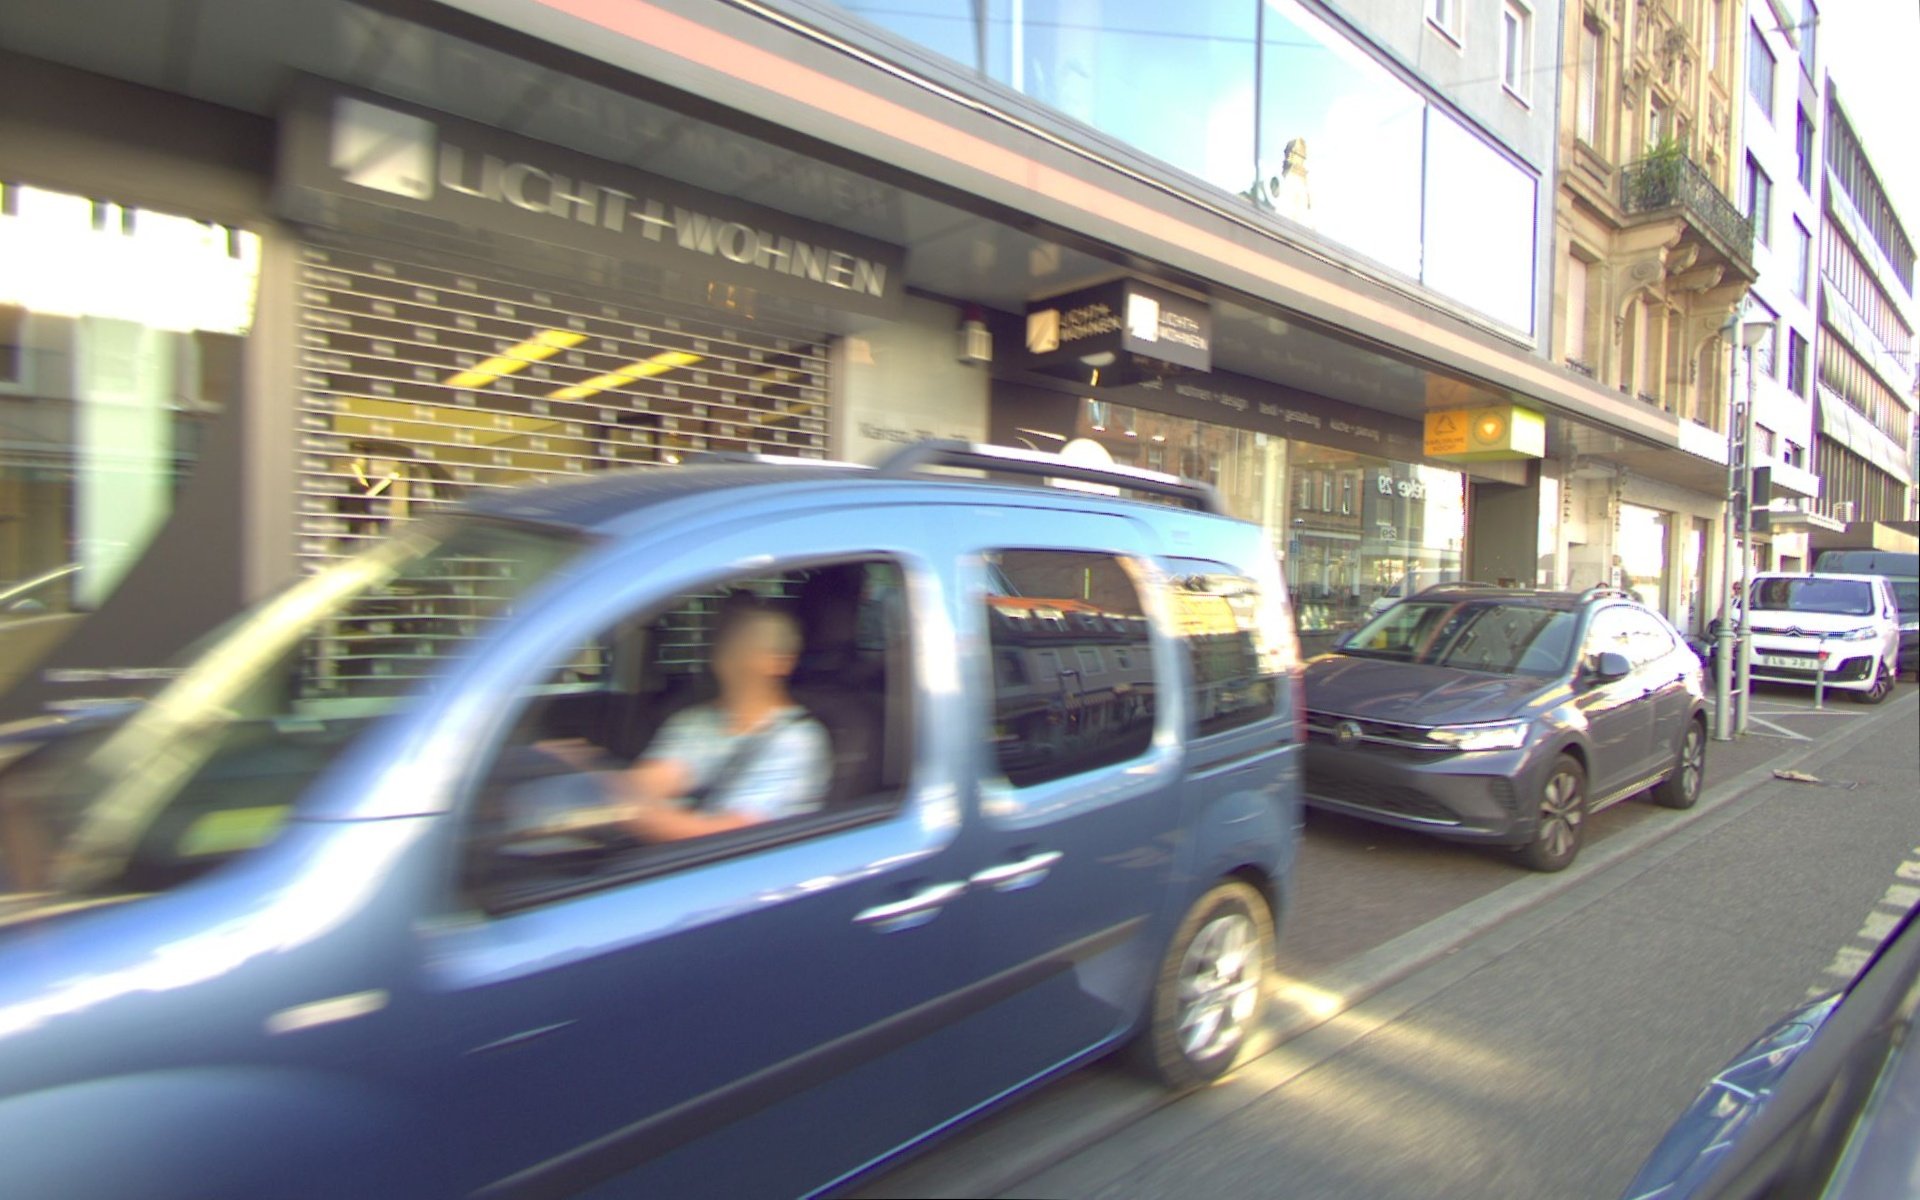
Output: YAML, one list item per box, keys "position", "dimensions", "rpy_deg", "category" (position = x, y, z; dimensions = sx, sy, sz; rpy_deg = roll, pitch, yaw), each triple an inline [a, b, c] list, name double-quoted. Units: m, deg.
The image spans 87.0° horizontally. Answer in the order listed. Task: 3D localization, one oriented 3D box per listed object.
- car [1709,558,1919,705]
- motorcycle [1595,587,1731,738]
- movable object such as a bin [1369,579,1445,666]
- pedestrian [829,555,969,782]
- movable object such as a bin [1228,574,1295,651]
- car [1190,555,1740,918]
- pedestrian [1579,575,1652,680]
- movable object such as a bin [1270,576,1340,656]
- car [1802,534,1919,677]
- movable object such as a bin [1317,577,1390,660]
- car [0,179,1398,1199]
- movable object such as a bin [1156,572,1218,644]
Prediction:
- position: [13.630, 0.374, 15.992]
  dimensions: [4.798, 1.933, 2.048]
  rpy_deg: [-1, 3, -44]
  category: "car"
- position: [7.579, 0.601, 10.862]
  dimensions: [2.283, 1.449, 0.660]
  rpy_deg: [0, 3, -42]
  category: "motorcycle"
- position: [7.479, 0.362, 16.946]
  dimensions: [0.787, 1.377, 0.881]
  rpy_deg: [1, 2, -41]
  category: "movable object such as a bin"
- position: [-0.425, 0.435, 7.010]
  dimensions: [0.718, 1.457, 0.577]
  rpy_deg: [0, 3, -41]
  category: "pedestrian"
- position: [5.658, 0.221, 19.024]
  dimensions: [0.787, 1.377, 0.881]
  rpy_deg: [1, 2, -41]
  category: "movable object such as a bin"
- position: [3.523, 0.581, 6.665]
  dimensions: [4.214, 1.596, 1.767]
  rpy_deg: [0, 4, -42]
  category: "car"
- position: [9.978, 0.396, 15.409]
  dimensions: [0.800, 1.527, 0.696]
  rpy_deg: [1, 2, -41]
  category: "pedestrian"
- position: [6.254, 0.279, 18.337]
  dimensions: [0.787, 1.377, 0.881]
  rpy_deg: [1, 2, -41]
  category: "movable object such as a bin"
- position: [18.673, 0.162, 20.255]
  dimensions: [5.587, 2.533, 2.049]
  rpy_deg: [2, -1, -42]
  category: "car"
- position: [6.852, 0.304, 17.627]
  dimensions: [0.787, 1.377, 0.881]
  rpy_deg: [1, 2, -41]
  category: "movable object such as a bin"
- position: [-0.686, 0.445, 2.696]
  dimensions: [4.476, 1.882, 1.818]
  rpy_deg: [-1, 3, -45]
  category: "car"
- position: [4.561, 0.144, 20.330]
  dimensions: [0.787, 1.377, 0.881]
  rpy_deg: [1, 2, -41]
  category: "movable object such as a bin"
